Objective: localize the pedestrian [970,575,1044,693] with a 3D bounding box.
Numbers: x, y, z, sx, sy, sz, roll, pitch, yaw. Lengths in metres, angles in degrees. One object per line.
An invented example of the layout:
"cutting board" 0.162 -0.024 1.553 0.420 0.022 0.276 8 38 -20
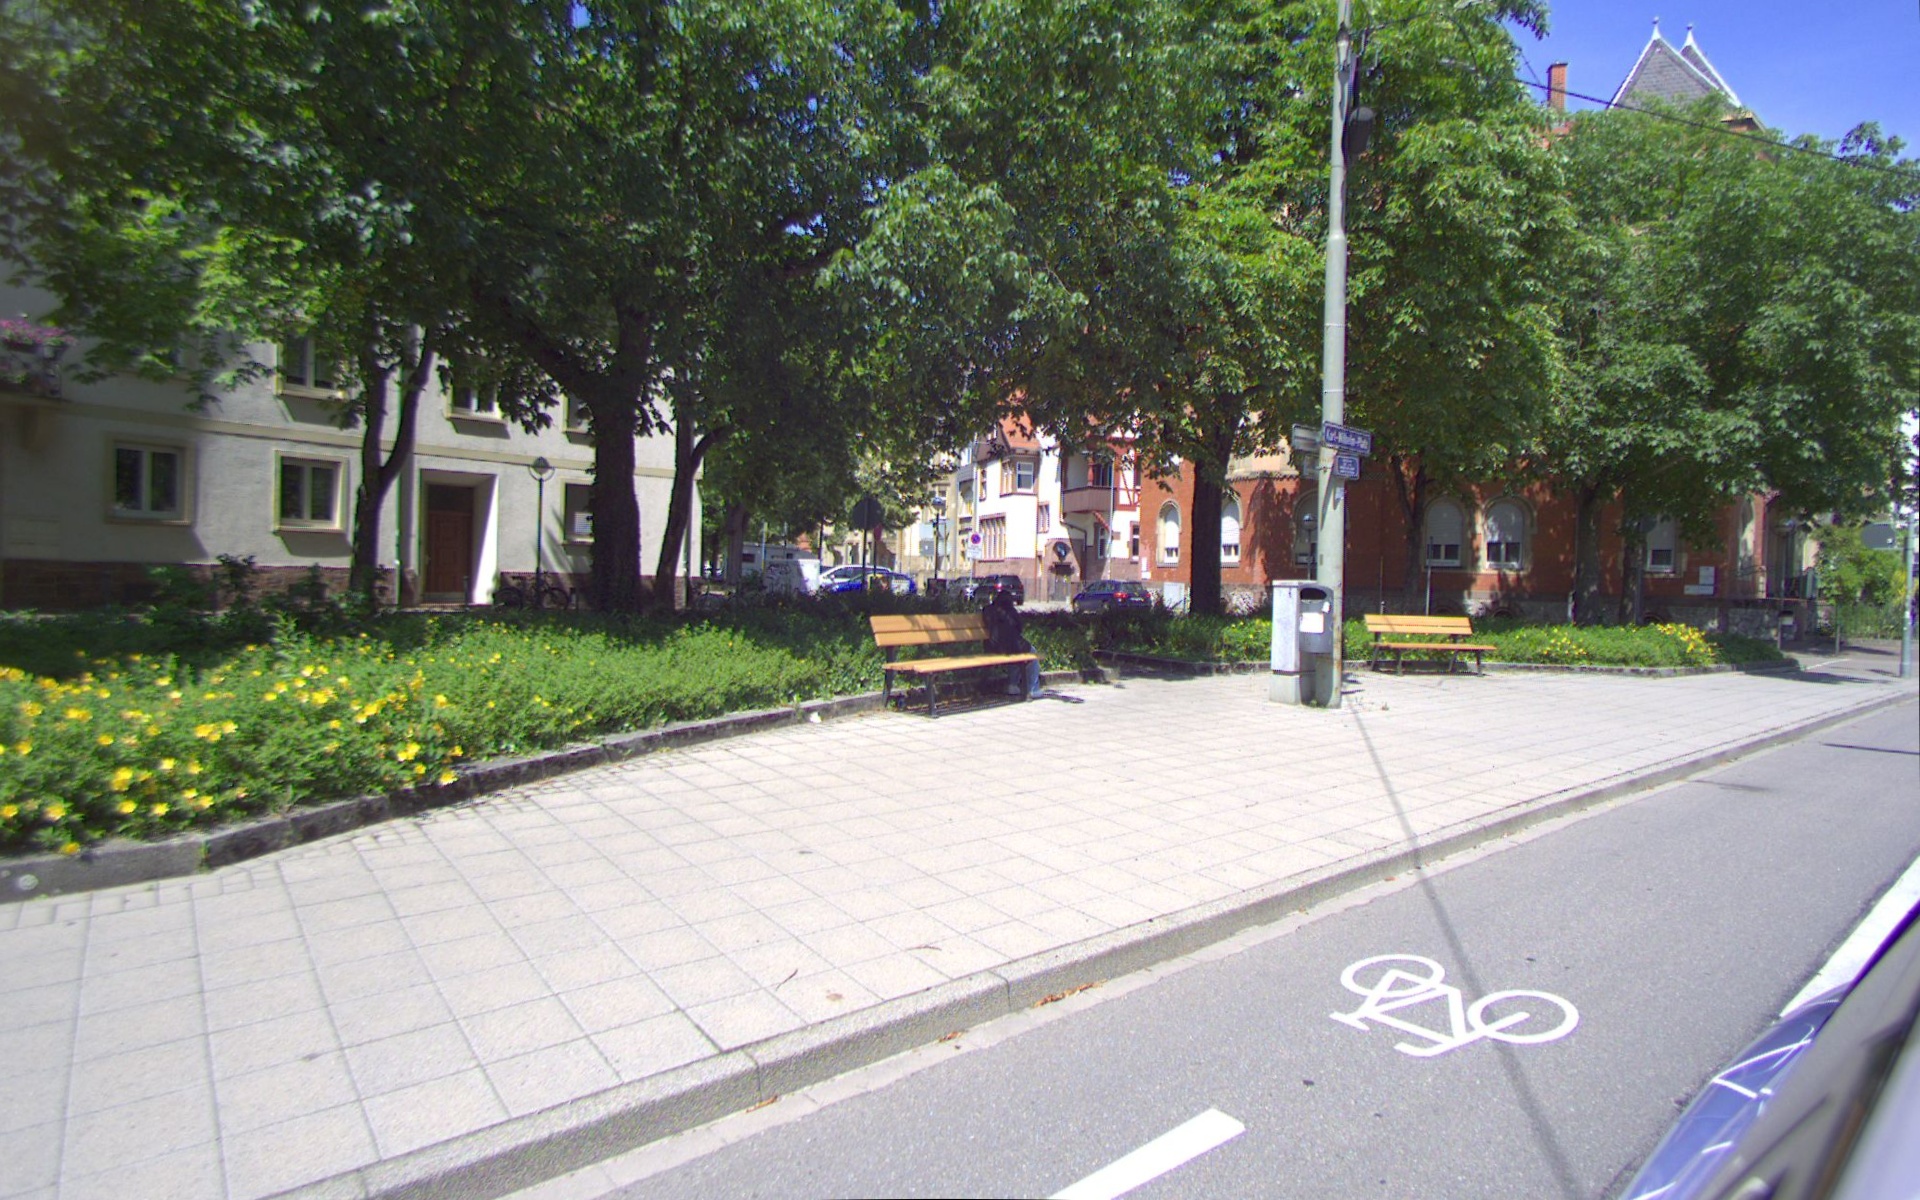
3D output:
"pedestrian" 0.461 0.328 10.031 0.469 1.105 0.511 2 2 -34

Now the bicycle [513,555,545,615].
"bicycle" -10.213 -0.365 23.951 0.505 1.364 2.247 0 1 -28

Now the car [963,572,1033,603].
"car" 1.972 -0.708 54.511 1.946 1.551 5.503 0 1 -19

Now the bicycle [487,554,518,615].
"bicycle" -10.736 -0.373 23.701 0.505 1.361 2.332 0 1 -28

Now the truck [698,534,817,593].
"truck" -12.119 -2.131 60.615 6.685 3.193 1.939 2 0 -19

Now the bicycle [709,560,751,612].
"bicycle" -6.085 -0.379 26.669 0.536 1.316 2.162 0 1 -28

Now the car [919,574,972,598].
"car" -0.951 -0.894 63.742 1.865 1.482 4.626 0 1 -21

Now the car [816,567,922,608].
"car" -3.609 -0.494 39.983 3.807 1.447 1.731 2 0 -21

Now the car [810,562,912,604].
"car" -4.424 -0.755 45.176 4.176 1.673 1.731 2 0 -21

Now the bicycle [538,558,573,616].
"bicycle" -9.600 -0.329 24.004 0.536 1.316 2.162 0 1 -28

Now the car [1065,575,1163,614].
"car" 6.175 -0.260 41.167 1.865 1.459 4.769 0 1 -21

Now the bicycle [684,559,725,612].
"bicycle" -6.701 -0.390 26.497 0.536 1.316 2.162 0 1 -28

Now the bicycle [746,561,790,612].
"bicycle" -5.147 -0.372 27.074 0.536 1.316 2.162 0 1 -28

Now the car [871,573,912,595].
"car" -5.076 -1.218 74.508 1.865 1.575 4.411 0 1 -21
